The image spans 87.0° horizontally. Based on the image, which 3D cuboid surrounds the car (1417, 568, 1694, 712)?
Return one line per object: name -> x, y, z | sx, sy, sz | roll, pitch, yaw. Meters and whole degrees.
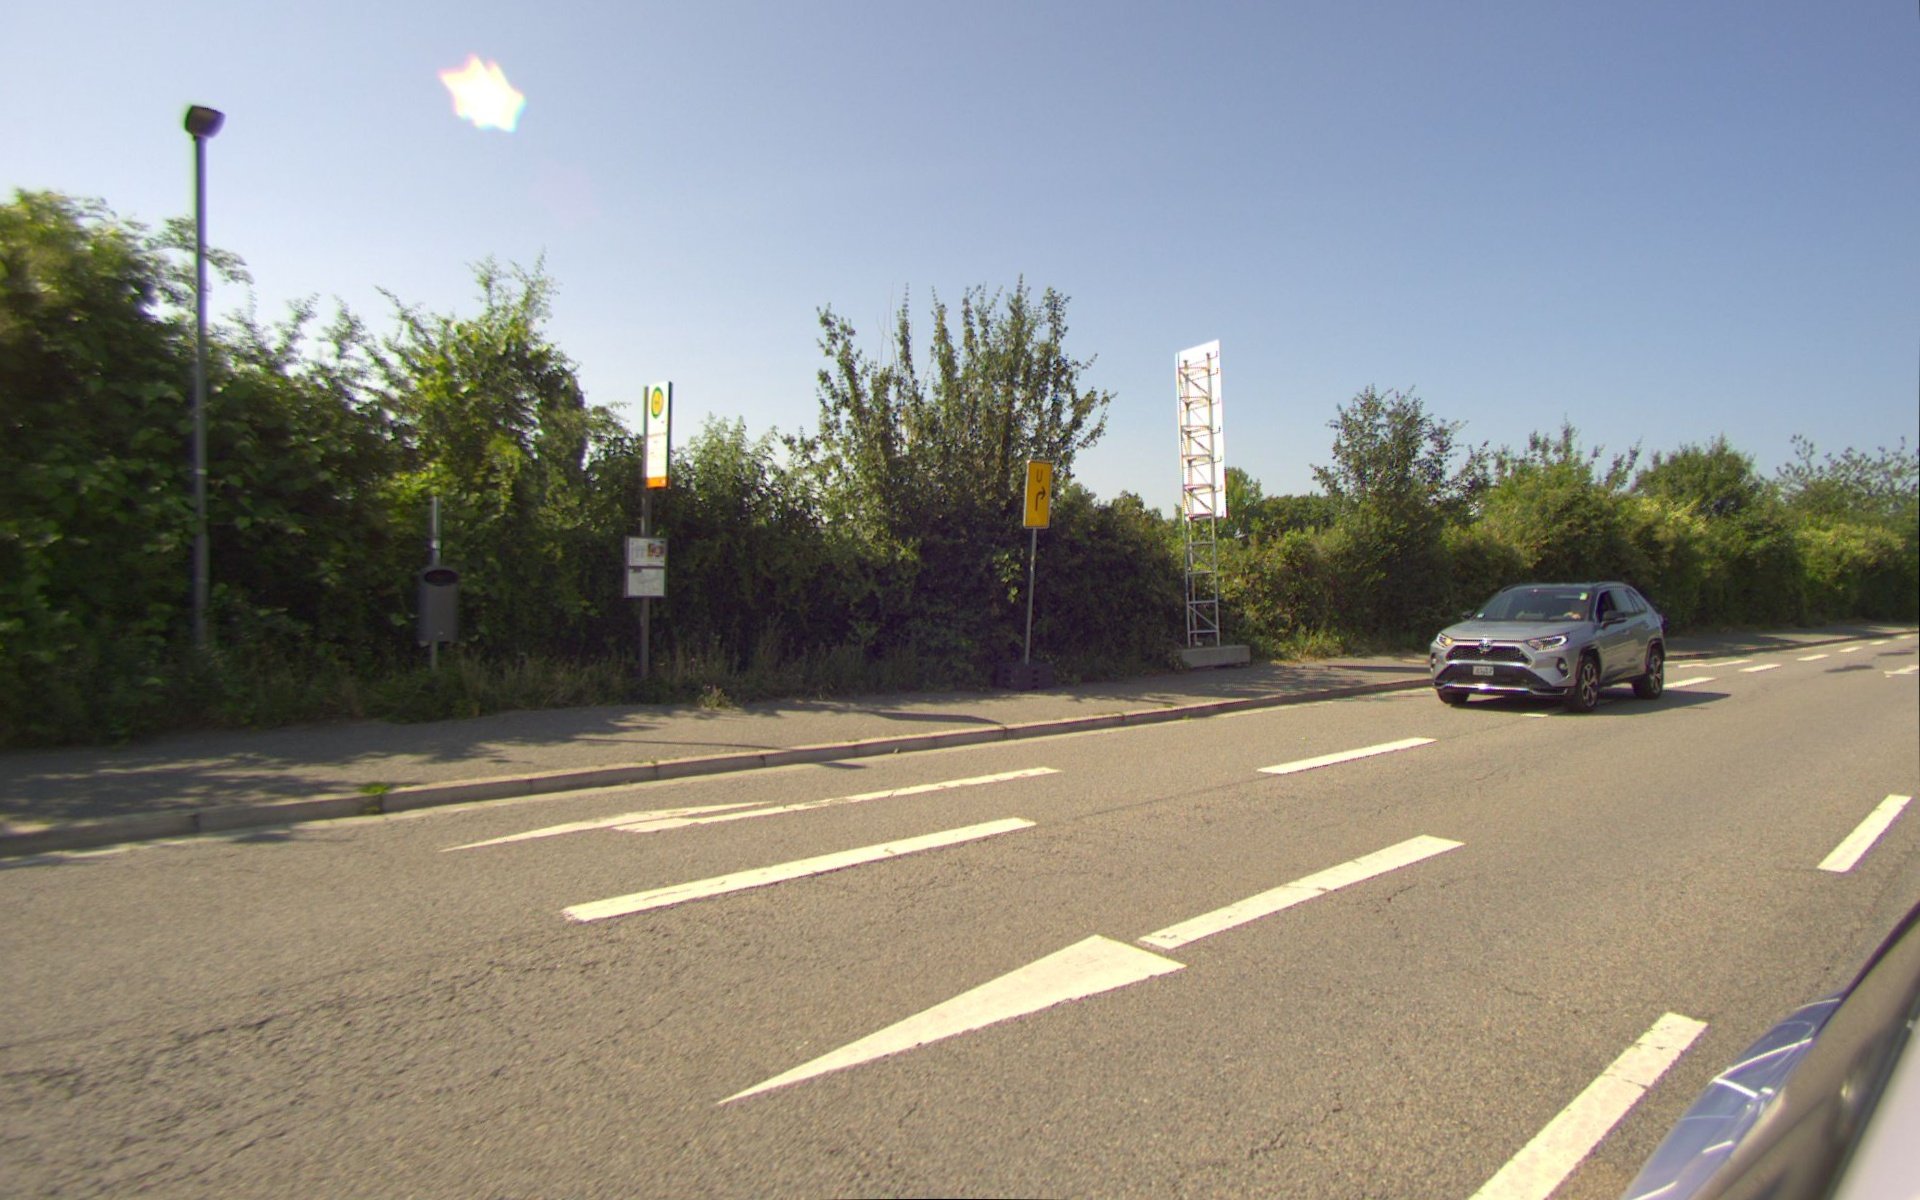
car -> 8.462, 0.460, 14.214 | 4.599, 1.701, 1.906 | 0, 0, -39
